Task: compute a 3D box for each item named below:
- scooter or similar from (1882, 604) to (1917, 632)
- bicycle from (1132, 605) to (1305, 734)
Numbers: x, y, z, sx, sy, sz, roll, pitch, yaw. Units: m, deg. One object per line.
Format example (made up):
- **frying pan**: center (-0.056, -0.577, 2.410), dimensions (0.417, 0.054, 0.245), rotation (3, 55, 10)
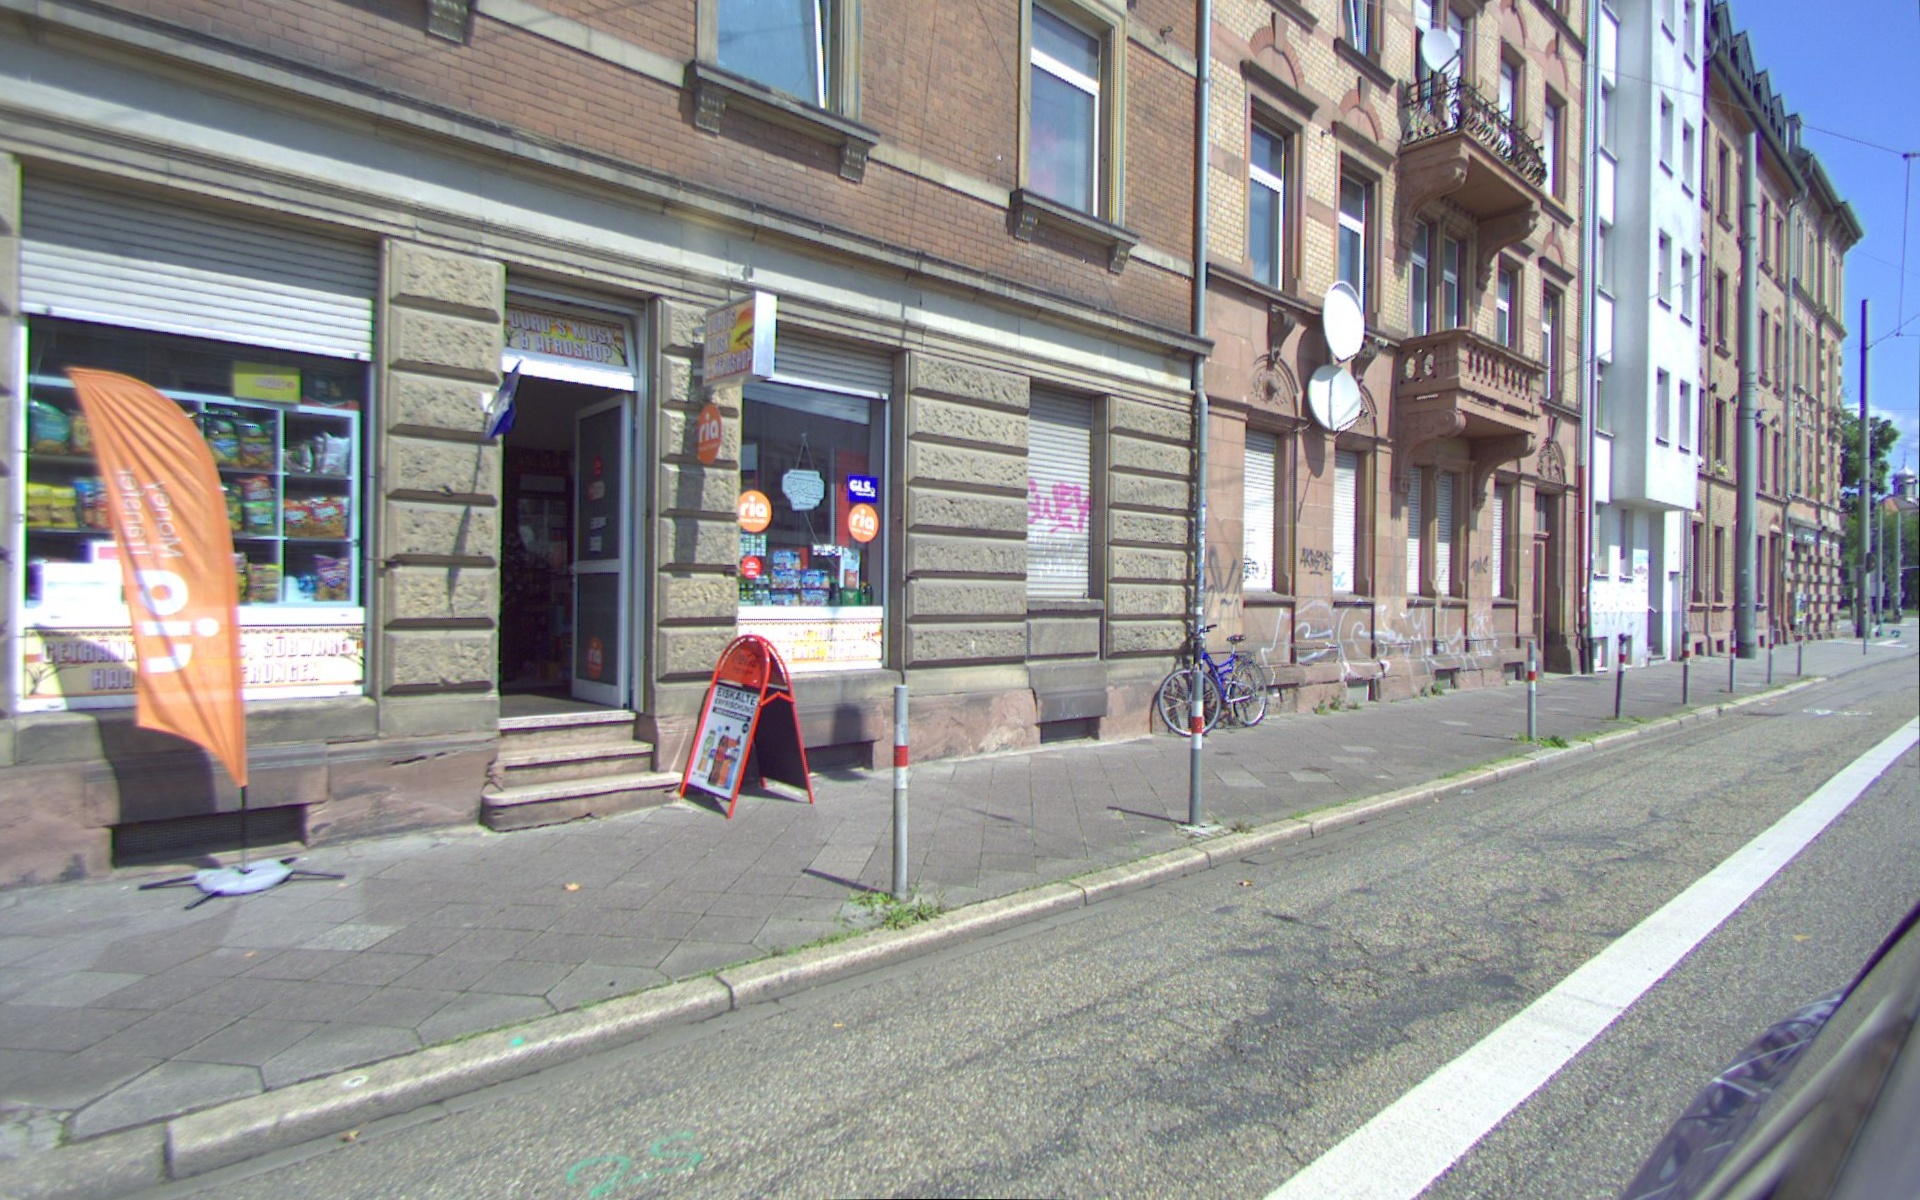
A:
- **scooter or similar**: center (42.420, 0.815, 45.690), dimensions (1.065, 1.194, 0.951), rotation (0, 1, -35)
- **bicycle**: center (2.716, 0.664, 10.469), dimensions (2.166, 1.193, 0.587), rotation (0, 1, -41)
